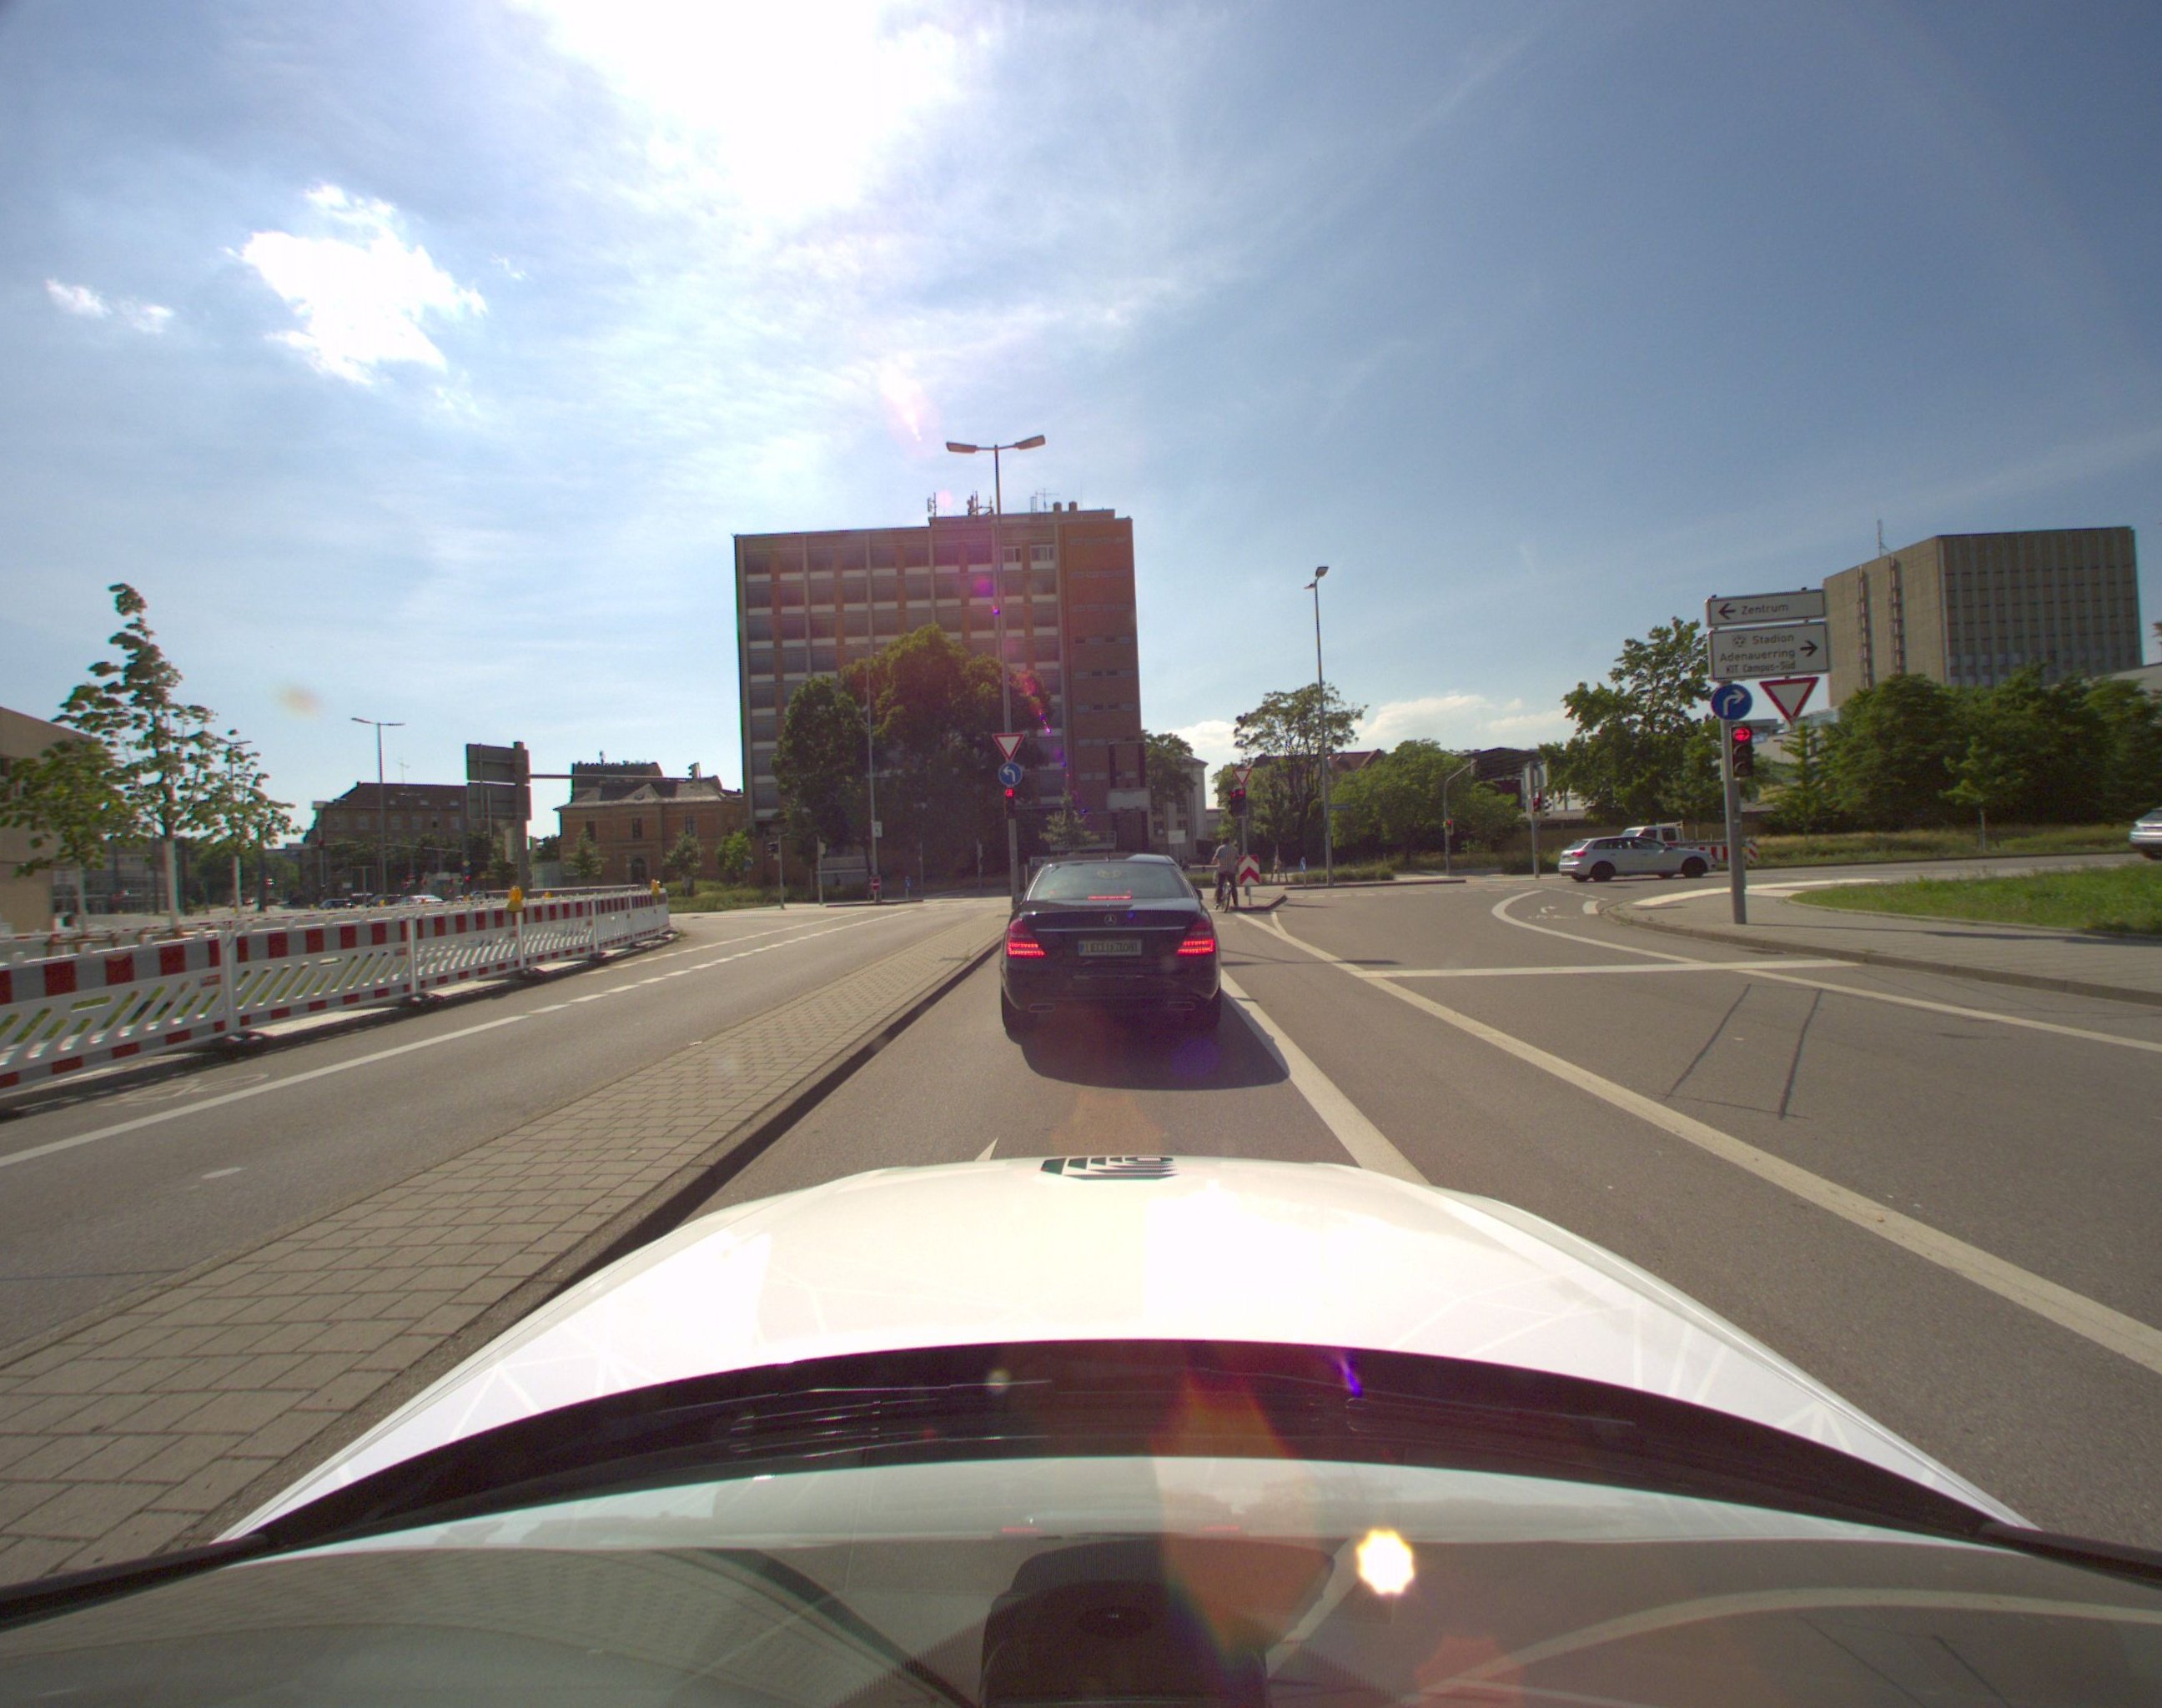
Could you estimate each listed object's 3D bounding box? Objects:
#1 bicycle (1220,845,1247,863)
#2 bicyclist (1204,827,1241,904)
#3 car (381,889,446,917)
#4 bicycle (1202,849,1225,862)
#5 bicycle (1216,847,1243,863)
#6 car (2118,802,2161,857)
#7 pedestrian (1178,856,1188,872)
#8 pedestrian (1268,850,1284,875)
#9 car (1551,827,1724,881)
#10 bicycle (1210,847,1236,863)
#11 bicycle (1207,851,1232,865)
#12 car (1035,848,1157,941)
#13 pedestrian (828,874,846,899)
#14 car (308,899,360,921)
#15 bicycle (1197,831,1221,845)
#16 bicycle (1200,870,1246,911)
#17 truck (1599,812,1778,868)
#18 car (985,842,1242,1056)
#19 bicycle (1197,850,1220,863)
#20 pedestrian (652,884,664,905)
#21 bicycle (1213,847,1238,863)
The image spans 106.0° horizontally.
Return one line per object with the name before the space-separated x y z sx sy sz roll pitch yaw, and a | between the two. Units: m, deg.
bicycle | 17.094 0.040 91.305 2.813 1.836 0.842 -3 0 1
bicyclist | 3.576 0.288 20.641 0.684 1.878 0.858 -1 -1 -5
car | -47.979 3.504 58.540 3.951 1.816 2.011 -3 -1 24
bicycle | 16.956 0.232 104.338 2.813 1.500 0.842 -3 0 1
bicycle | 17.031 0.096 93.567 2.813 1.744 0.842 -3 0 1
car | 34.304 -0.842 24.164 4.174 1.618 1.718 -3 0 13
pedestrian | 8.001 0.779 63.782 0.788 1.214 0.759 -1 -1 8
pedestrian | 12.439 0.554 52.023 0.807 1.579 0.693 -3 -1 3
car | 17.324 0.012 25.540 4.131 1.420 1.590 -3 0 12
bicycle | 16.749 0.133 96.120 2.813 1.659 0.842 -3 1 1
bicycle | 16.678 0.490 98.137 2.813 1.537 0.842 -3 0 1
car | 0.310 0.676 15.358 1.986 1.508 4.001 0 -1 2
pedestrian | -17.582 2.358 58.624 0.790 1.725 0.878 -3 -1 24
car | -55.517 4.158 60.500 3.948 1.510 1.811 -3 -1 32
bicycle | 16.055 -2.046 102.223 2.813 1.559 0.842 -3 0 1
bicycle | 3.586 0.899 20.665 0.691 0.946 1.955 0 -1 -4
truck | 30.341 -0.660 40.864 6.997 2.355 2.415 -3 0 2
car | 0.244 0.709 8.288 1.853 1.530 4.713 -1 -1 0
bicycle | 16.595 0.294 105.968 2.812 1.480 0.842 -3 0 2
pedestrian | -34.914 3.344 67.181 0.642 1.661 0.654 -1 -1 28
bicycle | 16.856 0.119 95.050 2.813 1.649 0.842 -3 0 1
